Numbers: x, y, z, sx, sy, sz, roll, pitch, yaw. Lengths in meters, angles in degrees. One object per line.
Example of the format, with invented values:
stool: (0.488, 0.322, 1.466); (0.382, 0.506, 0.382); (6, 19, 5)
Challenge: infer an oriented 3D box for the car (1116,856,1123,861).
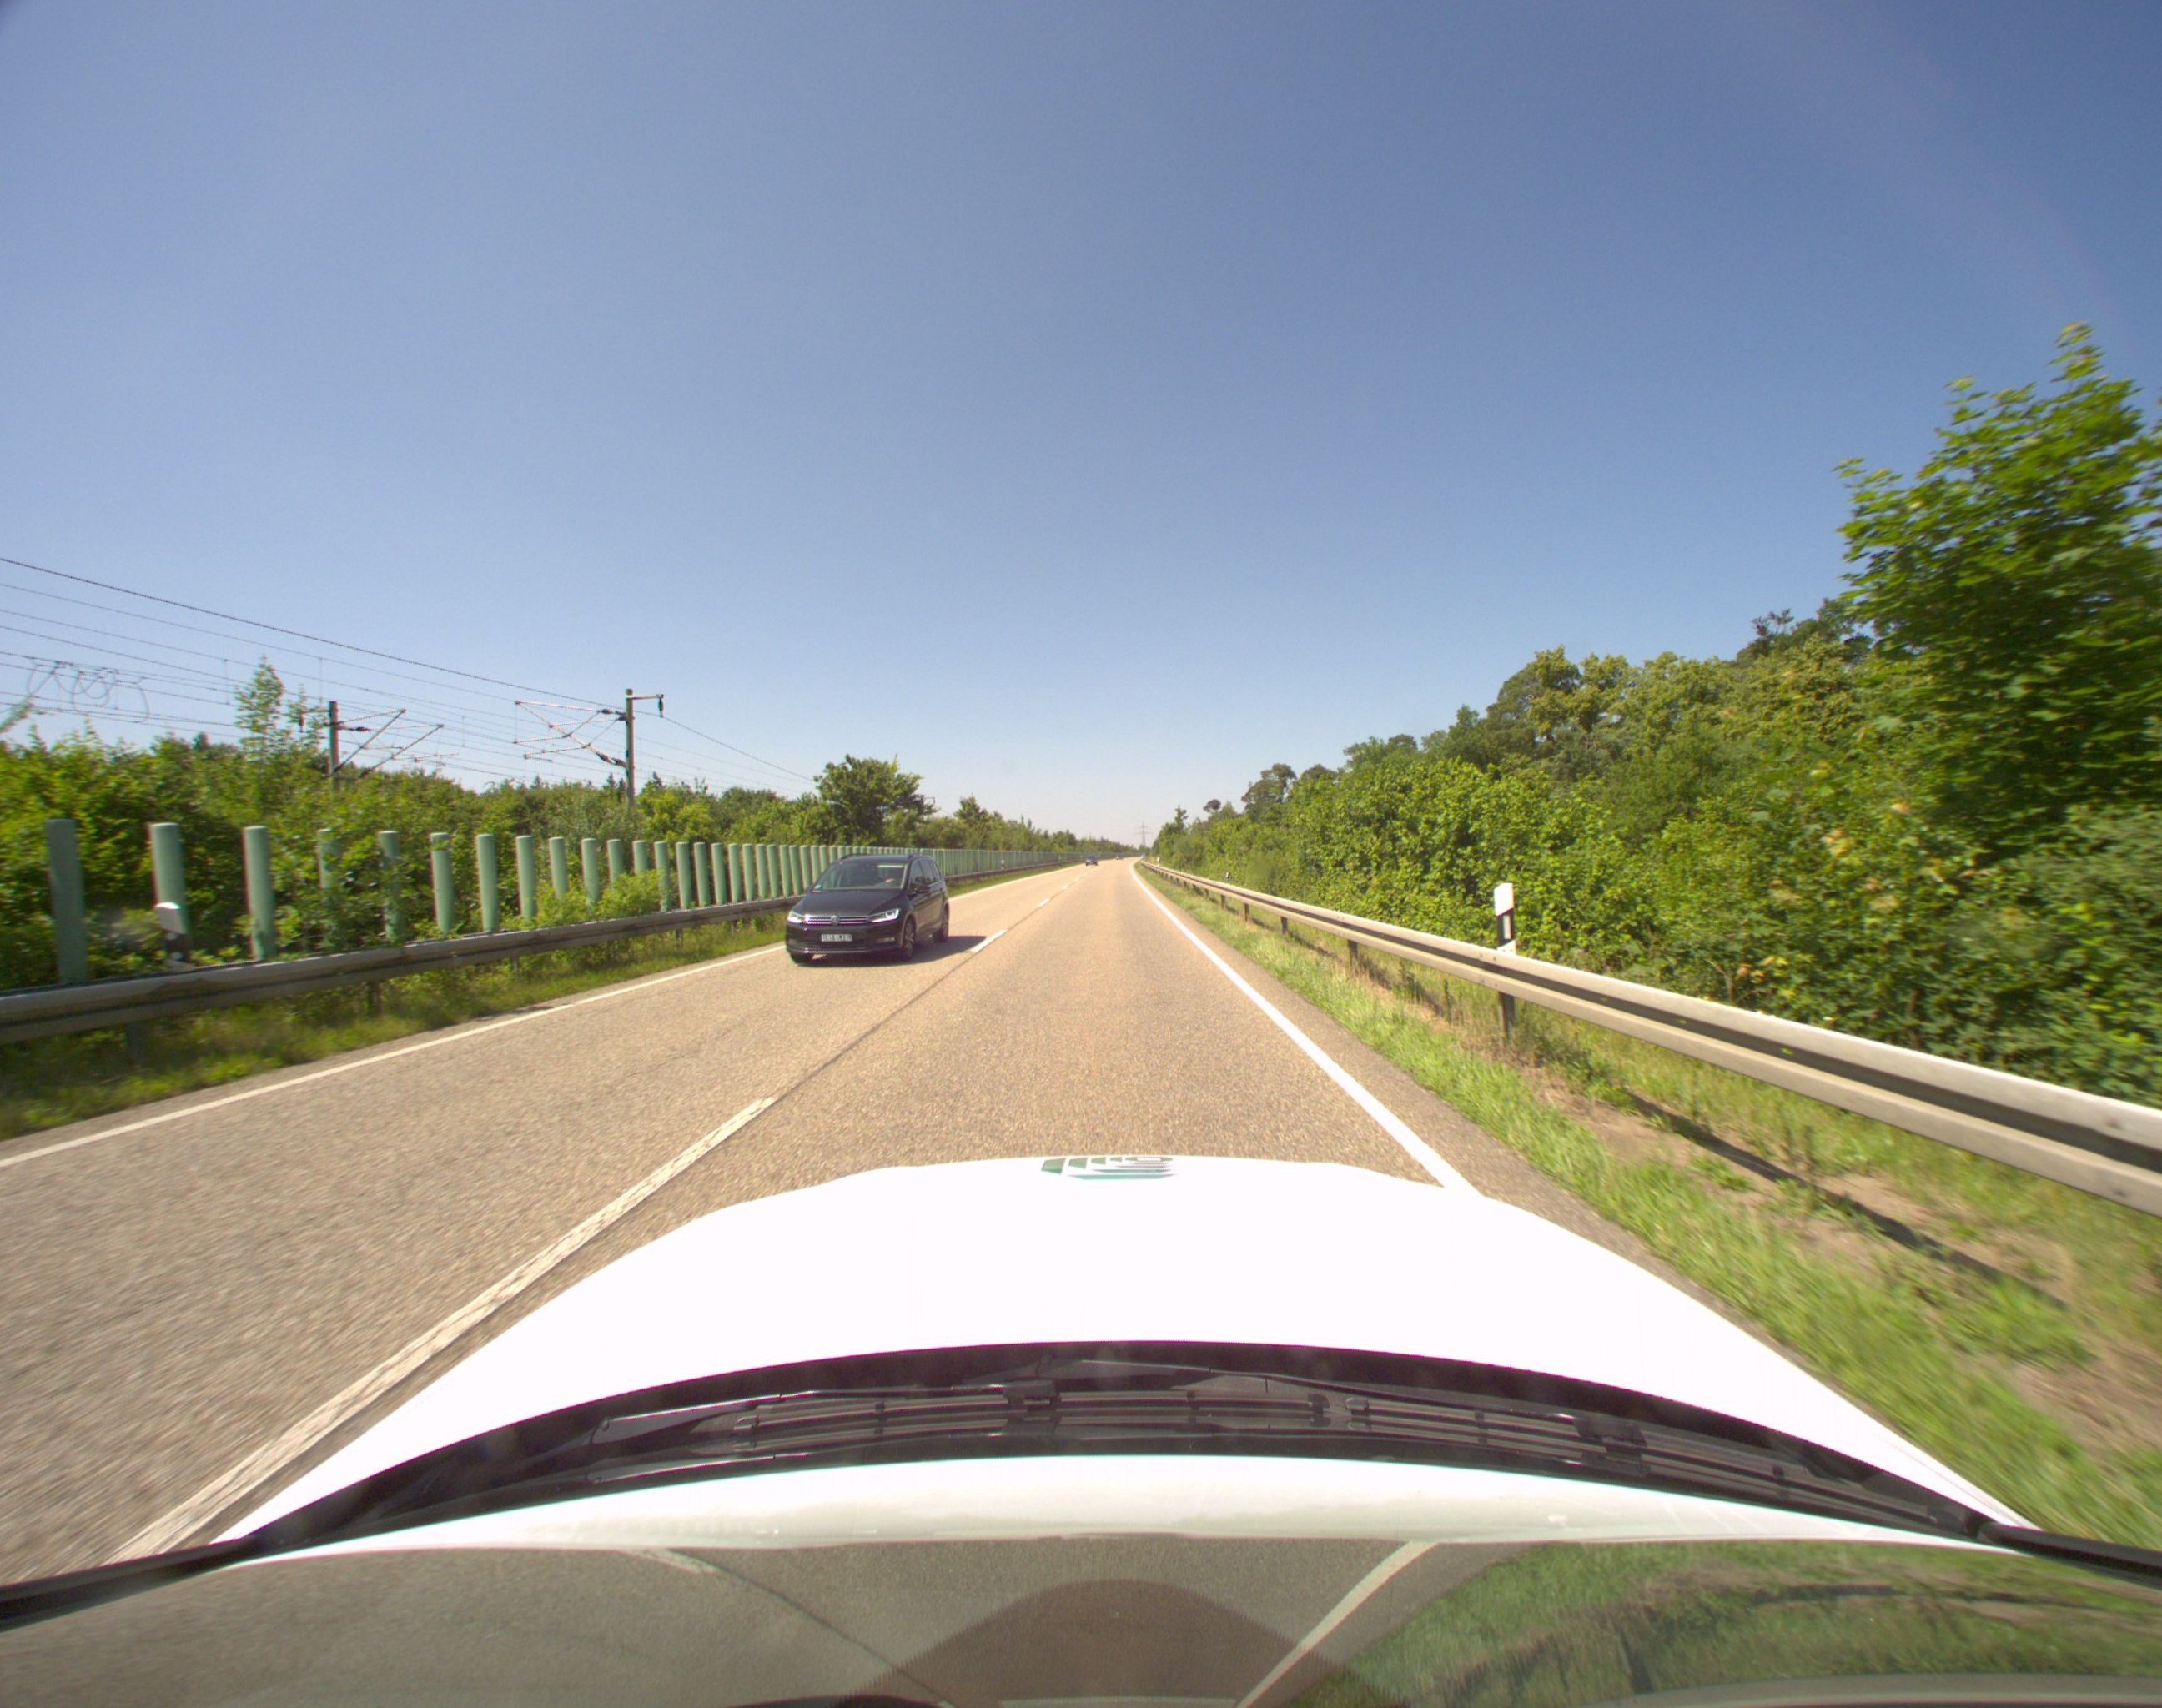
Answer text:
car: (10.782, 1.272, 229.963); (1.778, 1.371, 3.901); (-1, 1, 4)

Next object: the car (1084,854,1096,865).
car: (1.306, 0.728, 116.851); (1.642, 1.479, 3.678); (-1, 0, 2)

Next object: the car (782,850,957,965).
car: (-3.374, 0.786, 13.844); (1.757, 1.640, 4.128); (-1, 0, 2)
